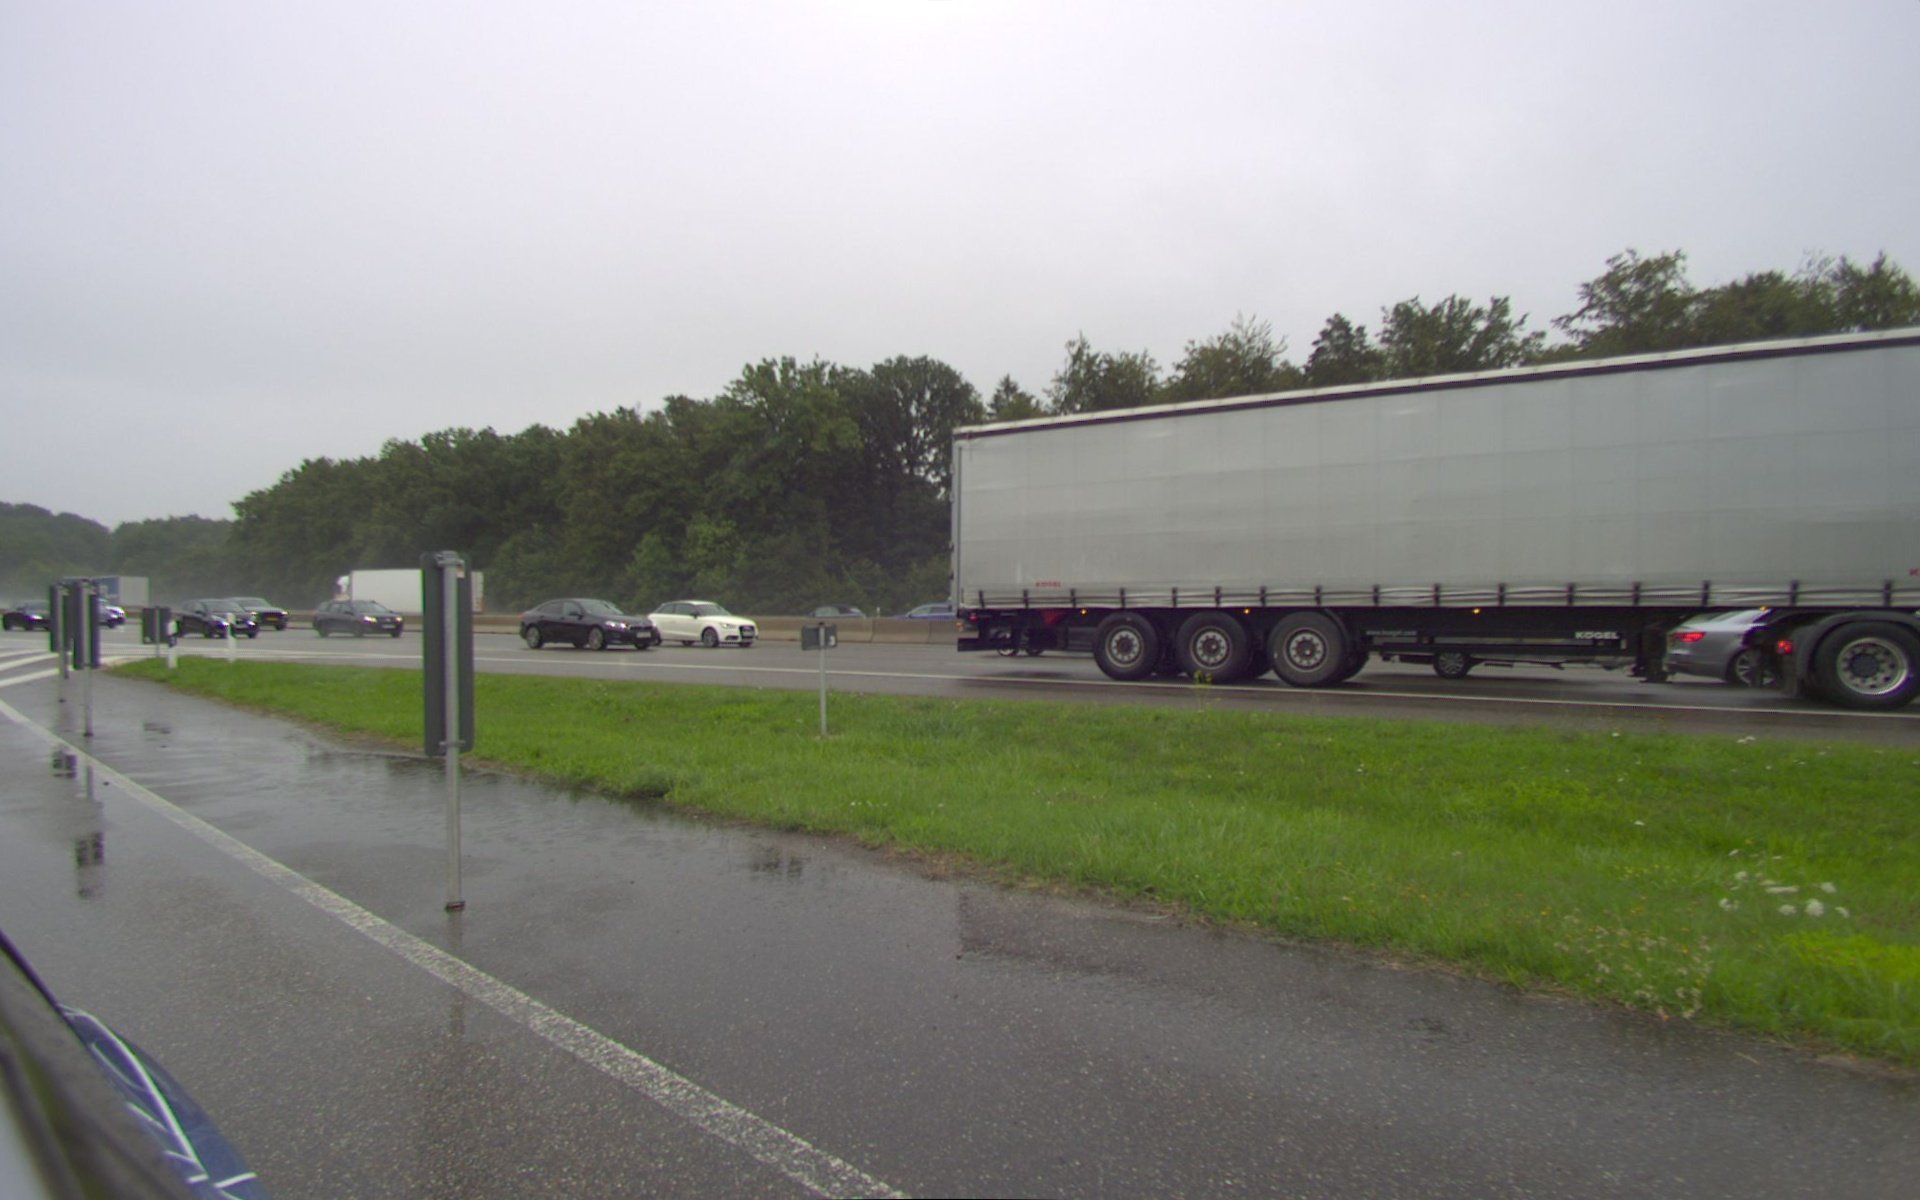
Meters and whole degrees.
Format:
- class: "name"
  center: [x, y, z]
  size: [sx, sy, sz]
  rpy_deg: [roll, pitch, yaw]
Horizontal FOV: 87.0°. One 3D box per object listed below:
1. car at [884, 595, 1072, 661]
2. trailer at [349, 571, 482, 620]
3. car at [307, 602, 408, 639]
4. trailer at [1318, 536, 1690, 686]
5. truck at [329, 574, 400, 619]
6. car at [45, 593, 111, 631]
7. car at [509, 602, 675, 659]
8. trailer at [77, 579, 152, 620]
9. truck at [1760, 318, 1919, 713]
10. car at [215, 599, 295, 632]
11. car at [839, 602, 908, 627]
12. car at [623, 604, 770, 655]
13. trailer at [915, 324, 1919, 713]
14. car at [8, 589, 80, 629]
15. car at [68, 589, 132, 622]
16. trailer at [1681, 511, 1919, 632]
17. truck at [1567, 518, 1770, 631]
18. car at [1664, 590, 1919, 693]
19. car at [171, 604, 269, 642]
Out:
- class: "car"
  center: [0.435, 0.684, 26.097]
  size: [4.512, 1.552, 1.979]
  rpy_deg: [0, -1, 31]
- class: "trailer"
  center: [-41.749, -0.284, 77.313]
  size: [13.440, 3.524, 2.629]
  rpy_deg: [0, 0, 32]
- class: "car"
  center: [-24.522, 0.858, 41.164]
  size: [4.108, 1.425, 1.805]
  rpy_deg: [-1, -2, 31]
- class: "trailer"
  center: [8.859, 0.214, 16.906]
  size: [5.159, 2.172, 2.114]
  rpy_deg: [-1, -2, 30]
- class: "truck"
  center: [-47.610, -0.263, 80.952]
  size: [5.582, 3.478, 2.627]
  rpy_deg: [0, 0, 32]
- class: "car"
  center: [-48.563, 0.659, 55.719]
  size: [3.990, 2.029, 1.841]
  rpy_deg: [0, -1, 35]
- class: "car"
  center: [-10.366, 0.818, 28.459]
  size: [4.481, 1.492, 1.868]
  rpy_deg: [0, -1, 28]
- class: "trailer"
  center: [-90.936, -0.087, 108.807]
  size: [9.130, 4.076, 3.070]
  rpy_deg: [0, 4, 30]
- class: "truck"
  center: [12.428, -0.857, 10.602]
  size: [5.911, 4.083, 2.852]
  rpy_deg: [0, -2, 30]
- class: "car"
  center: [-37.446, 0.843, 53.737]
  size: [4.388, 1.681, 1.805]
  rpy_deg: [0, -2, 31]
- class: "car"
  center: [-3.934, 0.646, 45.997]
  size: [2.877, 1.089, 1.428]
  rpy_deg: [0, 1, 30]
- class: "car"
  center: [-8.251, 0.876, 31.606]
  size: [4.486, 1.492, 1.866]
  rpy_deg: [0, -1, 31]
- class: "trailer"
  center: [6.038, -0.782, 14.346]
  size: [14.063, 4.013, 2.874]
  rpy_deg: [0, -2, 31]
- class: "car"
  center: [-44.994, 0.446, 49.715]
  size: [3.990, 1.918, 1.746]
  rpy_deg: [-1, 0, 35]
- class: "car"
  center: [-55.114, 0.359, 64.853]
  size: [3.985, 2.029, 1.979]
  rpy_deg: [-1, -1, 31]
- class: "trailer"
  center: [32.073, -0.972, 33.183]
  size: [13.348, 3.840, 3.009]
  rpy_deg: [-1, 1, 29]
- class: "truck"
  center: [25.470, -0.863, 36.771]
  size: [5.619, 3.775, 3.022]
  rpy_deg: [-1, 1, 28]
- class: "car"
  center: [12.850, 0.571, 14.317]
  size: [4.563, 1.358, 1.833]
  rpy_deg: [-1, -2, 30]
- class: "car"
  center: [-28.628, 0.885, 39.127]
  size: [3.989, 1.383, 1.803]
  rpy_deg: [-1, -1, 34]
